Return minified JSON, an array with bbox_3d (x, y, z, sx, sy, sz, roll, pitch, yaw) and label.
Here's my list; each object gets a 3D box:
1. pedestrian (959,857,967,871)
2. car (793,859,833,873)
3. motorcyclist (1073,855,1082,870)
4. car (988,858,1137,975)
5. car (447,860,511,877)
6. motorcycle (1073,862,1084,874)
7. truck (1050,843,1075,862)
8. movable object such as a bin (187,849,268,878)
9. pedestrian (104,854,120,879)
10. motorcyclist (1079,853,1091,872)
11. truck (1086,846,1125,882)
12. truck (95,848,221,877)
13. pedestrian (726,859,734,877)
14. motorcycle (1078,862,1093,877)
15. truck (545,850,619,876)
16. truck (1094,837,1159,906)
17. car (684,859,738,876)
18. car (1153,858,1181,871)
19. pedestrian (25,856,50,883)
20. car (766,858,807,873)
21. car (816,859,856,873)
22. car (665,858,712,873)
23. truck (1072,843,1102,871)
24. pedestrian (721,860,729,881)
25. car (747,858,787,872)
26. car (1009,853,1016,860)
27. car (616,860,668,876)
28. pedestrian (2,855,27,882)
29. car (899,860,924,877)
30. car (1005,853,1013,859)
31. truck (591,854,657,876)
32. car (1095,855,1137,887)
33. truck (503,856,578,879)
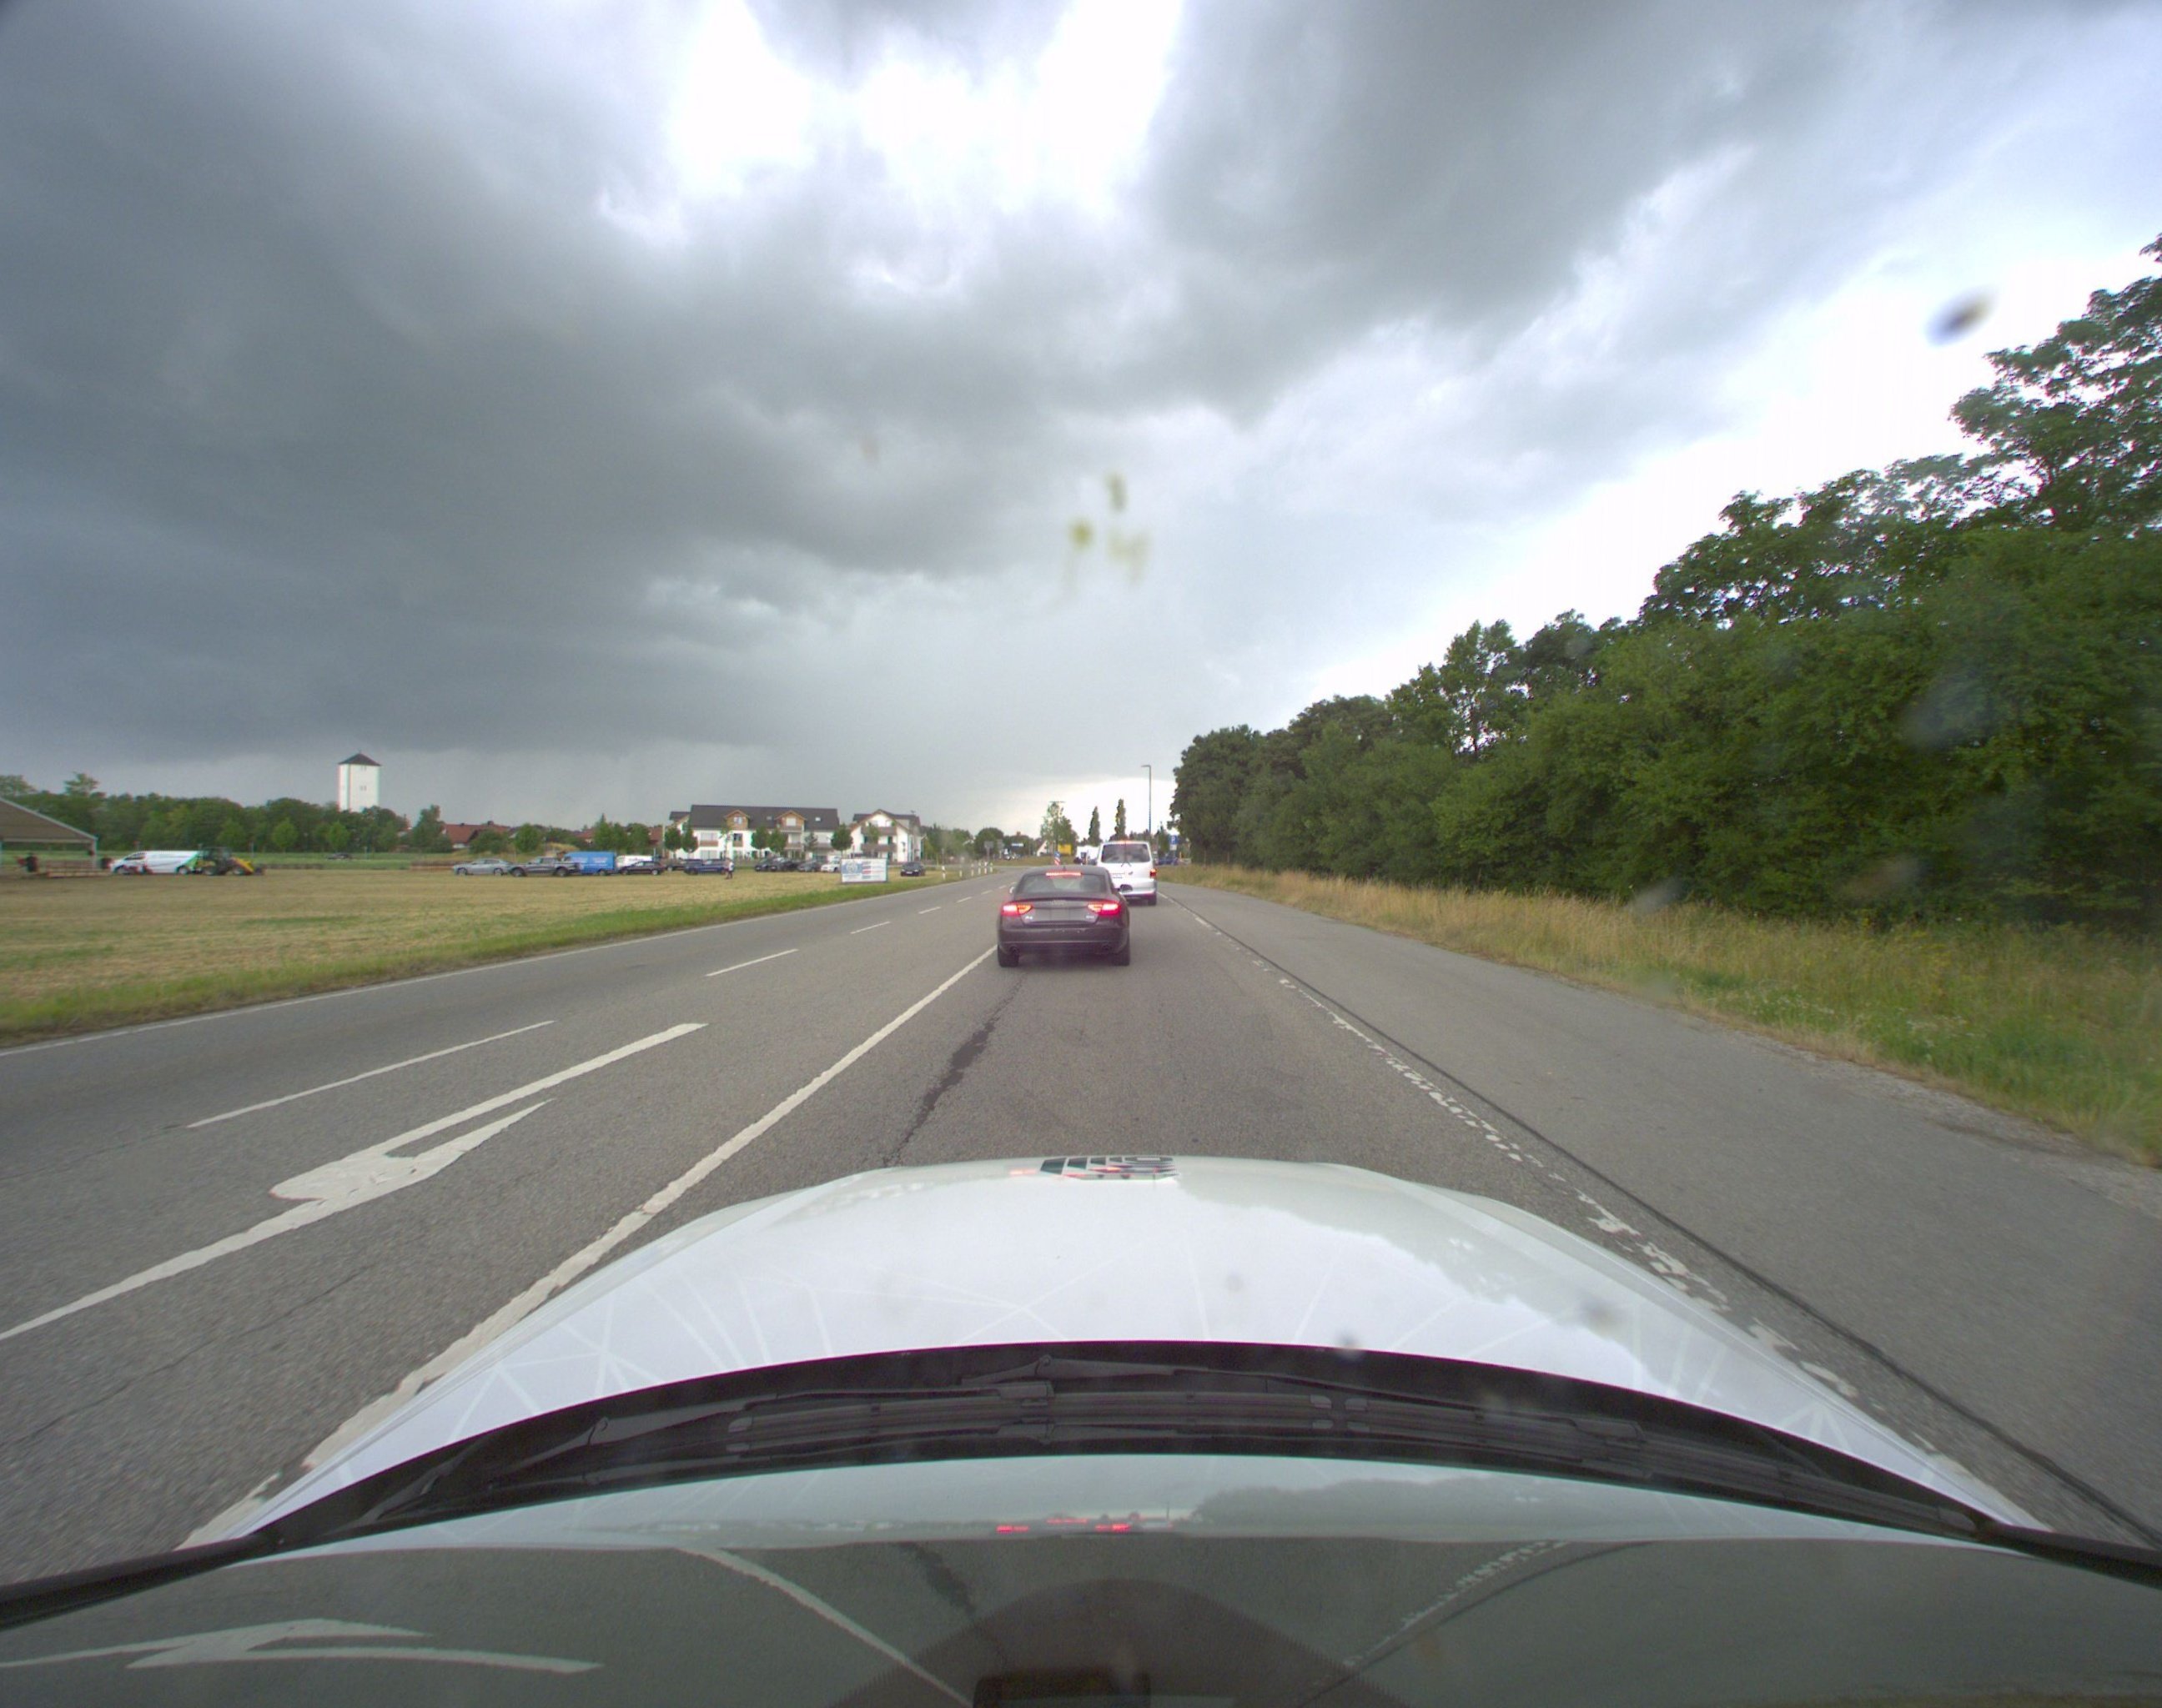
[{"bbox_3d":[-13.424,1.148,92.729,0.695,1.586,0.661,0,-1,19],"label":"pedestrian"},{"bbox_3d":[-29.544,1.302,89.966,1.976,1.536,4.233,0,0,21],"label":"car"},{"bbox_3d":[-0.295,0.725,72.403,0.783,1.356,0.854,0,0,1],"label":"motorcyclist"},{"bbox_3d":[-0.185,0.804,12.383,1.868,1.454,4.178,-1,0,1],"label":"car"},{"bbox_3d":[-54.312,1.288,73.565,4.314,1.461,1.876,0,0,-24],"label":"car"},{"bbox_3d":[-0.253,1.203,72.365,0.941,1.019,2.284,0,0,0],"label":"motorcycle"},{"bbox_3d":[-3.556,-0.263,155.334,3.574,3.578,9.928,1,0,-8],"label":"truck"},{"bbox_3d":[-67.961,0.728,64.899,4.005,2.243,1.870,0,-1,-26],"label":"movable object such as a bin"},{"bbox_3d":[-71.113,0.909,59.779,0.618,1.866,0.713,-1,-1,36],"label":"pedestrian"},{"bbox_3d":[0.286,0.609,58.363,0.768,1.383,0.821,0,0,4],"label":"motorcyclist"},{"bbox_3d":[1.523,0.595,48.963,2.185,2.014,5.088,0,0,3],"label":"truck"},{"bbox_3d":[-74.460,0.685,65.867,6.074,2.217,2.698,0,0,-25],"label":"truck"},{"bbox_3d":[-30.706,1.210,71.263,0.591,1.555,0.622,0,-1,-17],"label":"pedestrian"},{"bbox_3d":[0.303,1.096,58.455,0.916,1.094,2.191,0,0,4],"label":"motorcycle"},{"bbox_3d":[-46.606,0.829,76.206,5.467,2.446,2.377,0,-1,-21],"label":"truck"},{"bbox_3d":[1.437,0.516,26.019,1.896,1.998,4.631,0,0,3],"label":"truck"},{"bbox_3d":[-37.635,1.334,82.956,4.728,1.697,1.988,0,0,-18],"label":"car"},{"bbox_3d":[13.342,1.632,126.203,3.952,2.014,2.011,0,-1,22],"label":"car"},{"bbox_3d":[-68.882,1.019,53.760,0.690,1.776,0.691,0,-1,-17],"label":"pedestrian"},{"bbox_3d":[-32.677,1.235,90.517,1.976,1.629,4.233,0,0,21],"label":"car"},{"bbox_3d":[-26.862,1.271,89.464,1.976,1.446,4.233,0,0,21],"label":"car"},{"bbox_3d":[-45.613,1.320,94.727,4.638,1.697,1.988,0,0,-18],"label":"car"},{"bbox_3d":[0.540,0.352,83.530,2.621,2.737,5.858,1,0,-4],"label":"truck"},{"bbox_3d":[-30.764,1.446,70.384,0.548,1.786,0.676,0,-1,-9],"label":"pedestrian"},{"bbox_3d":[-35.710,1.228,92.686,1.976,1.629,4.233,0,0,21],"label":"car"},{"bbox_3d":[-19.695,0.782,233.804,1.990,2.014,3.993,1,0,-5],"label":"car"},{"bbox_3d":[-43.538,1.386,80.824,4.166,1.519,1.988,0,0,-18],"label":"car"},{"bbox_3d":[-71.136,0.975,54.329,0.687,1.776,0.694,0,-1,-4],"label":"pedestrian"},{"bbox_3d":[-15.829,1.346,76.262,1.992,1.442,3.989,0,0,-8],"label":"car"},{"bbox_3d":[-21.287,0.624,241.376,1.988,1.642,3.997,1,0,-2],"label":"car"},{"bbox_3d":[-46.917,1.066,83.780,5.584,2.196,2.589,0,0,-21],"label":"truck"},{"bbox_3d":[1.700,0.791,39.860,1.986,1.485,4.002,0,0,2],"label":"car"},{"bbox_3d":[-47.676,1.154,71.978,5.251,1.920,2.095,0,0,-24],"label":"truck"}]
